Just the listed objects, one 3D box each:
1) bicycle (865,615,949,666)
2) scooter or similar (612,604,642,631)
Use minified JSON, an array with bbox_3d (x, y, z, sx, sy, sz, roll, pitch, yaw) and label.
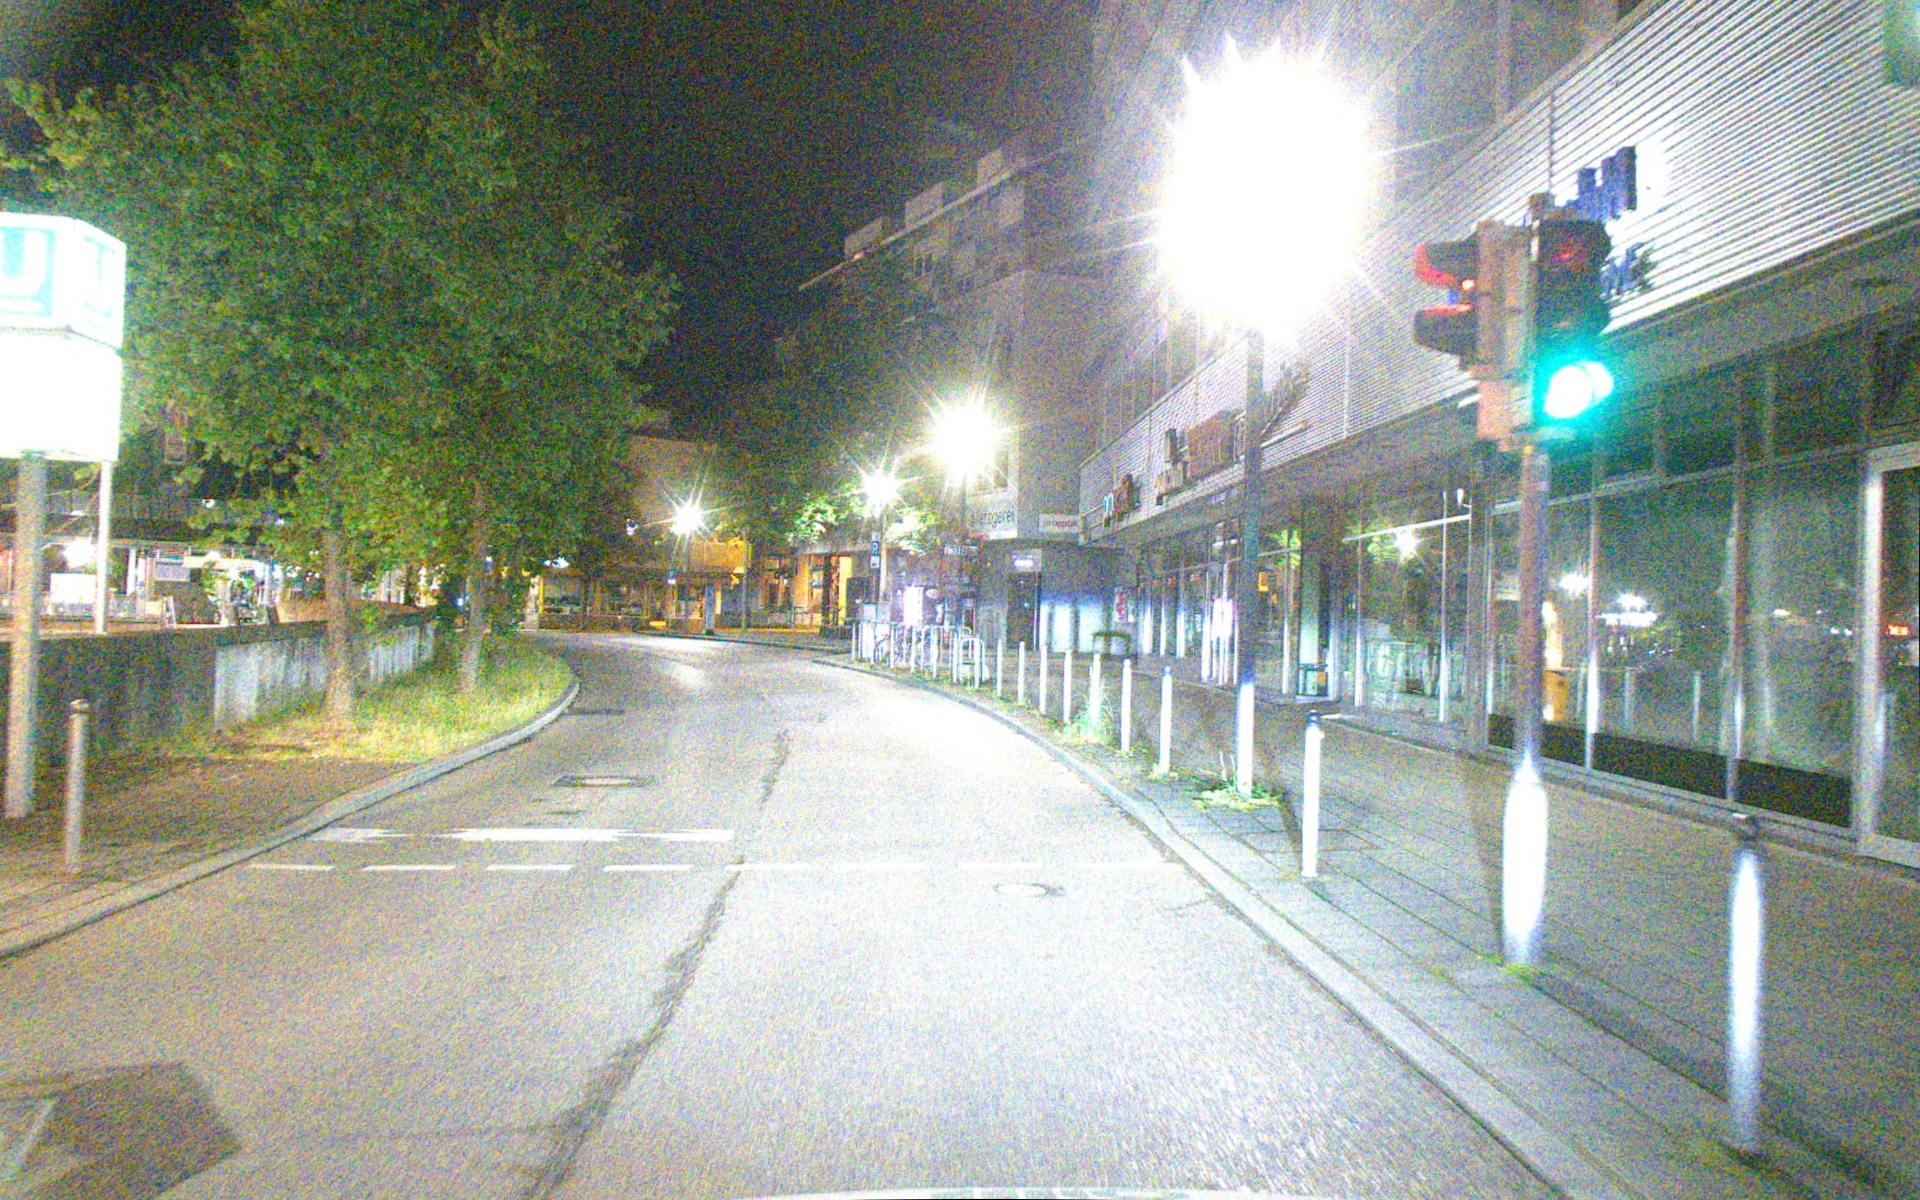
[{"bbox_3d":[-1.179,0.894,36.749,1.728,1.081,0.650,2,0,-27],"label":"bicycle"},{"bbox_3d":[-15.845,0.838,78.689,1.232,1.248,0.592,3,0,-29],"label":"scooter or similar"}]
